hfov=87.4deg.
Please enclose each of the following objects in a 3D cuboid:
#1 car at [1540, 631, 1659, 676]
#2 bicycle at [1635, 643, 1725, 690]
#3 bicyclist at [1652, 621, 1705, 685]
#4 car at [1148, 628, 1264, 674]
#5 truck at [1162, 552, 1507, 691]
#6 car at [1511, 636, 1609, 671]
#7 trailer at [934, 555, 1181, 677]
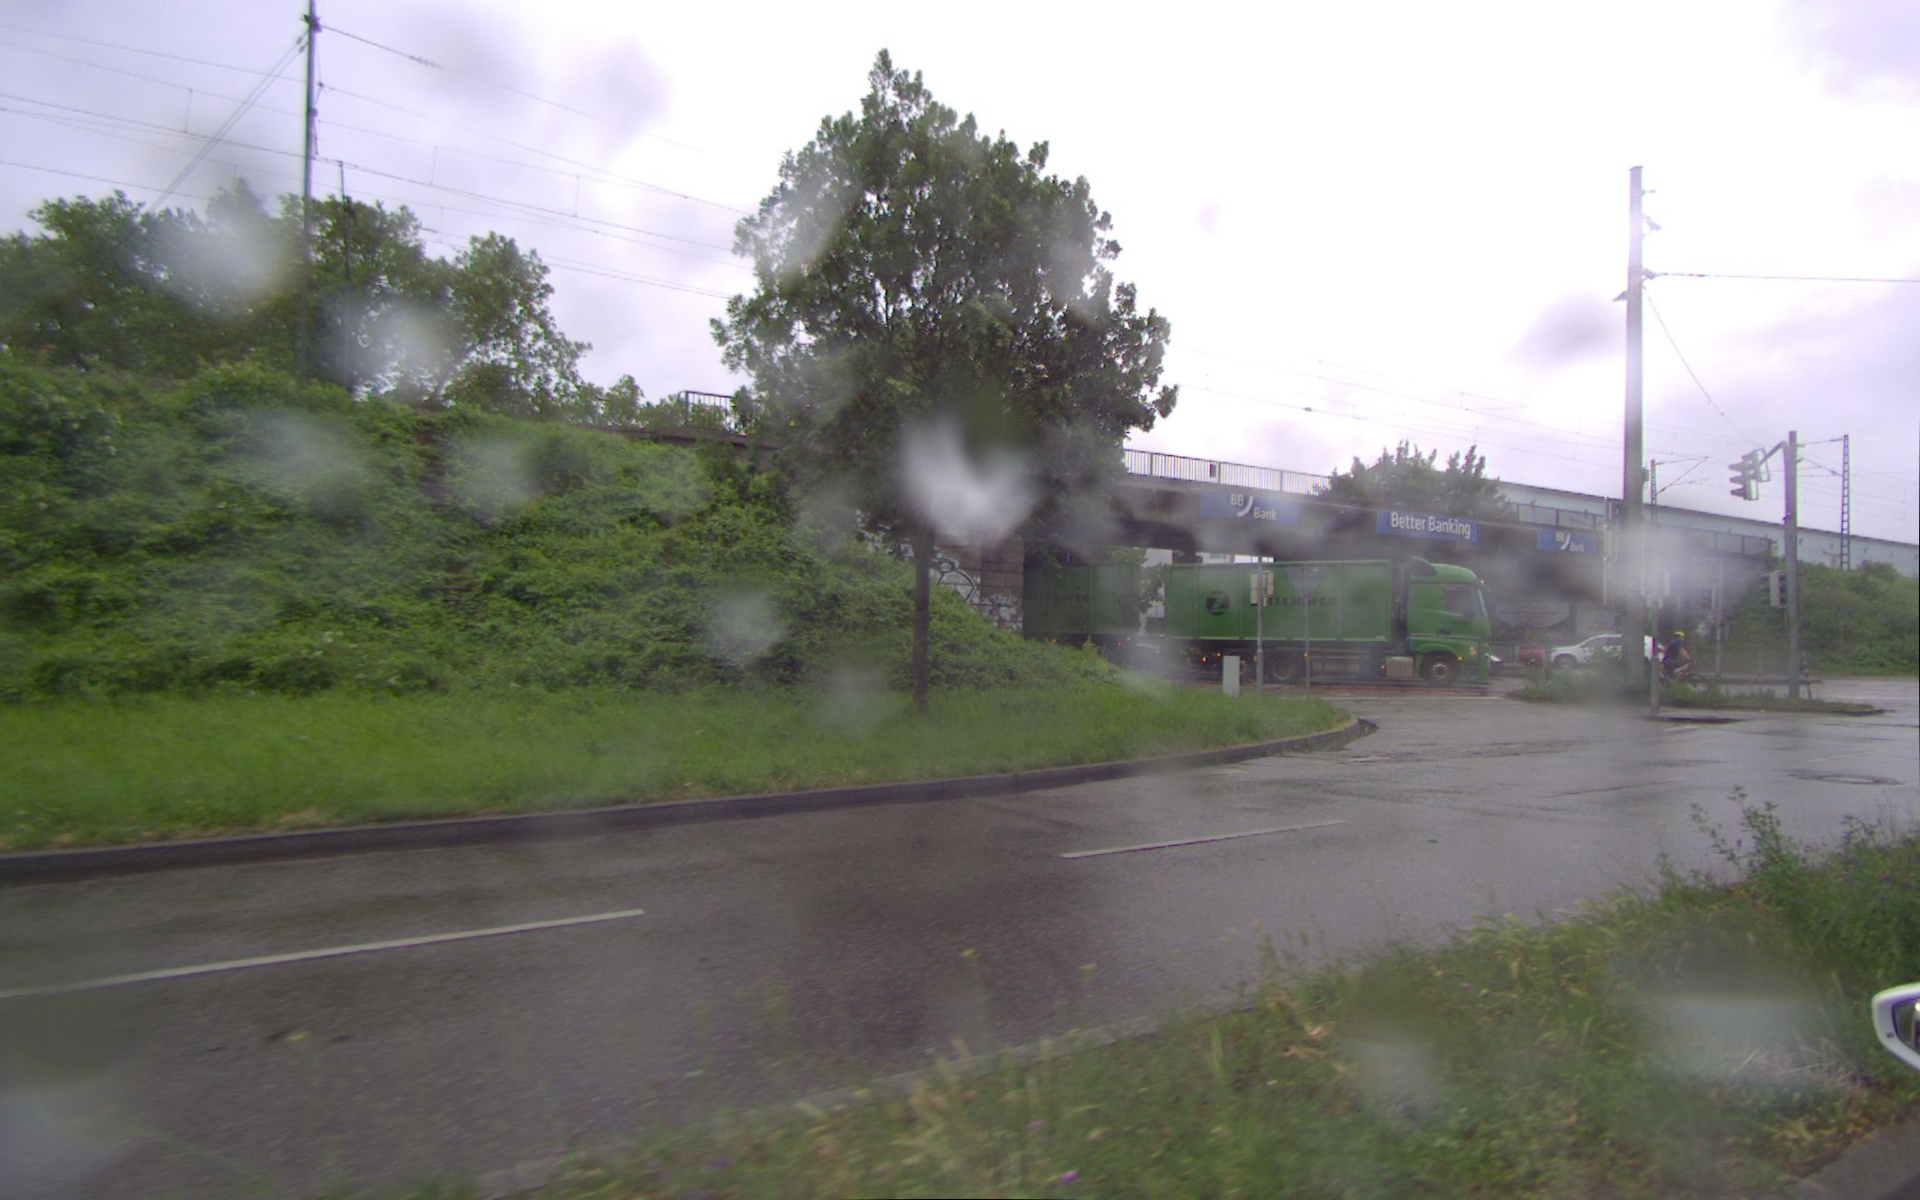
[{"bbox_3d":[28.513,2.361,44.857,4.370,1.870,1.993,-1,-2,37],"label":"car"},{"bbox_3d":[18.905,1.737,26.418,1.880,1.109,0.693,1,0,34],"label":"bicycle"},{"bbox_3d":[18.887,1.385,26.426,1.029,1.614,0.803,2,-1,33],"label":"bicyclist"},{"bbox_3d":[9.104,1.838,37.152,3.923,1.594,1.999,0,-2,23],"label":"car"},{"bbox_3d":[11.776,0.678,32.275,10.001,4.001,2.686,0,-2,25],"label":"truck"},{"bbox_3d":[28.639,2.546,48.108,3.927,1.523,1.769,0,-1,28],"label":"car"},{"bbox_3d":[3.448,0.561,36.096,8.358,4.039,2.688,0,-2,24],"label":"trailer"}]
